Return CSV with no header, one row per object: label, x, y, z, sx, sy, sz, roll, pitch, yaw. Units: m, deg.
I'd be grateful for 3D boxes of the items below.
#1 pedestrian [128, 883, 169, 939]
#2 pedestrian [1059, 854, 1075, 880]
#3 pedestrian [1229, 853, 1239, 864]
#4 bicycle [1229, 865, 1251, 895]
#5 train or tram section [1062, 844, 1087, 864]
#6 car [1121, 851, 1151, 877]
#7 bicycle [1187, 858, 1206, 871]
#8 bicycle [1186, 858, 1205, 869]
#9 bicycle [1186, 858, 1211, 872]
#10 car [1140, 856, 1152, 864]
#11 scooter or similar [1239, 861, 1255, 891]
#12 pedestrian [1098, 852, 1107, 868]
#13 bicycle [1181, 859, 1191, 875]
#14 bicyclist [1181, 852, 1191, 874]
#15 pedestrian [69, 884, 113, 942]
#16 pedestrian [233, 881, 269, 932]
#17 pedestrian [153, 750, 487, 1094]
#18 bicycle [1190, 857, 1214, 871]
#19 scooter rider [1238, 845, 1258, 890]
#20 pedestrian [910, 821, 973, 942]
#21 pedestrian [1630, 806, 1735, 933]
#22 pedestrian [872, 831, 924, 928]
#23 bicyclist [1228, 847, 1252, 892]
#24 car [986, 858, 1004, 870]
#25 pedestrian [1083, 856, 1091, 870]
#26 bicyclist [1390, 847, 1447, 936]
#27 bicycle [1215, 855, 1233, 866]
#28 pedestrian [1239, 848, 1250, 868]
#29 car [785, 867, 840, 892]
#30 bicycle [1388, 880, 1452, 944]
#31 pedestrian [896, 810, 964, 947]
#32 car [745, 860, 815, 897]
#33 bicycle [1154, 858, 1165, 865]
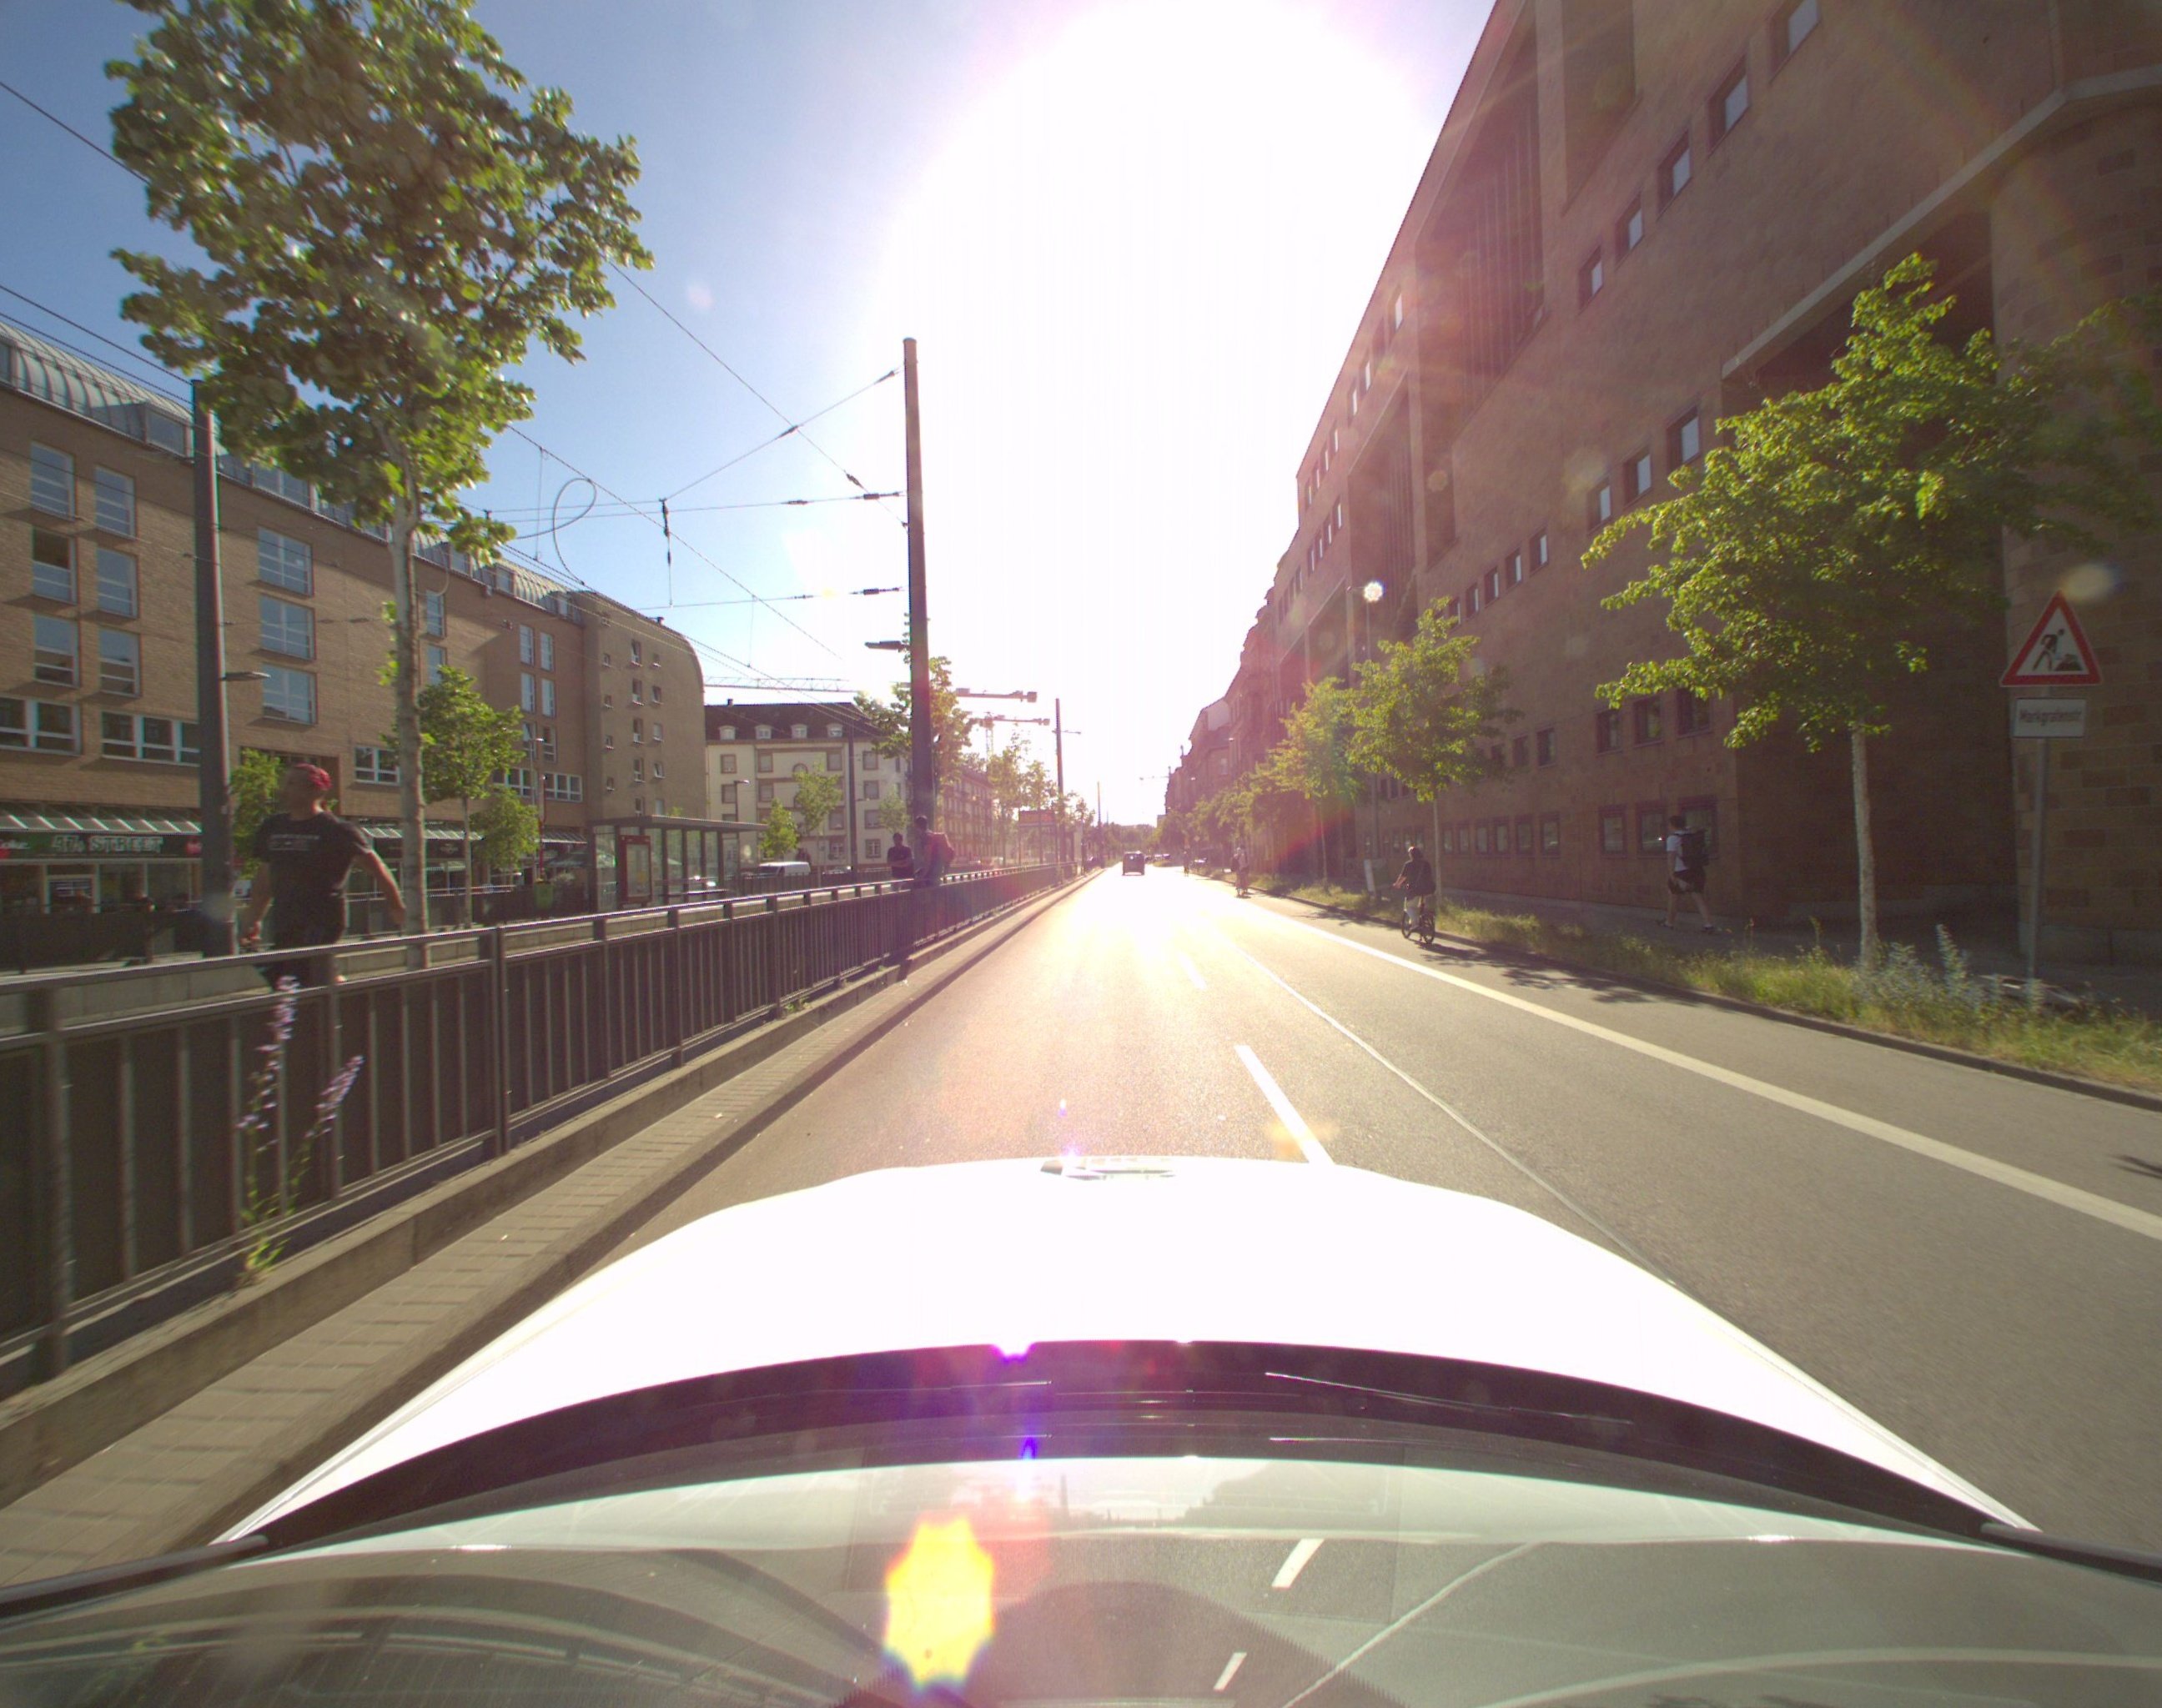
pedestrian,-31.600,1.930,27.604,0.618,1.840,0.645,-2,-1,1
pedestrian,-0.806,0.765,47.953,0.809,1.536,0.799,-2,0,5
pedestrian,16.929,0.465,89.924,0.847,1.214,0.933,-1,-1,-4
bicycle,6.090,0.982,31.204,0.555,1.092,1.793,0,0,3
train or tram section,-0.828,0.103,117.617,2.744,2.743,9.874,-1,-1,4
car,4.384,0.806,65.093,2.191,1.926,4.657,-2,-1,3
bicycle,10.347,0.932,72.948,1.591,1.045,0.608,-5,0,6
bicycle,10.777,0.930,76.635,1.660,0.944,0.608,-3,0,10
bicycle,10.133,0.947,70.269,1.993,1.092,0.845,-5,0,-7
car,12.658,1.126,158.627,2.019,1.499,4.657,-2,-1,3
scooter or similar,6.954,0.909,34.223,0.488,1.227,1.171,0,0,3
pedestrian,2.533,0.715,95.674,0.863,1.788,0.970,-1,-1,-3
bicycle,8.148,1.011,63.287,0.599,1.181,1.870,0,0,3
bicyclist,8.154,0.692,63.338,0.681,1.673,0.922,0,0,2
pedestrian,-33.009,1.956,27.171,0.618,1.840,0.645,-2,-1,1
pedestrian,-31.314,1.973,30.724,0.618,1.840,0.645,-2,-1,1
pedestrian,-4.474,0.367,4.898,0.988,1.811,1.022,-2,-1,-1
bicycle,10.605,0.888,71.623,1.986,1.128,0.710,-5,0,4
scooter rider,7.006,0.567,34.213,0.663,1.861,0.901,0,0,2
pedestrian,-2.106,0.410,12.363,0.743,1.748,0.716,-2,-1,2
pedestrian,9.453,0.237,12.850,0.785,1.883,1.107,-2,-1,3
pedestrian,-3.375,0.465,15.036,0.706,1.723,0.752,-2,-1,1
bicyclist,6.113,0.592,31.370,0.776,1.711,0.869,0,0,2
car,-12.464,1.438,118.184,1.811,1.794,4.094,-1,-1,5
pedestrian,0.711,0.983,89.936,0.809,1.536,0.799,-1,-1,5
bicyclist,5.971,0.648,14.447,0.655,1.537,0.910,0,0,2
bicycle,15.551,0.712,88.654,1.808,1.171,0.655,-2,3,7
pedestrian,12.930,0.325,64.326,0.706,1.542,0.928,-2,-1,3
car,-16.399,1.531,49.938,1.871,1.464,4.002,-1,-1,2
bicycle,5.981,0.994,14.438,0.555,1.027,1.508,0,0,3
pedestrian,-2.154,0.343,11.670,0.743,1.884,0.716,-2,-1,2
car,-21.590,1.708,58.727,1.981,2.370,5.662,-2,0,11
bicycle,12.936,1.232,134.750,1.785,1.030,0.528,-2,-1,2
